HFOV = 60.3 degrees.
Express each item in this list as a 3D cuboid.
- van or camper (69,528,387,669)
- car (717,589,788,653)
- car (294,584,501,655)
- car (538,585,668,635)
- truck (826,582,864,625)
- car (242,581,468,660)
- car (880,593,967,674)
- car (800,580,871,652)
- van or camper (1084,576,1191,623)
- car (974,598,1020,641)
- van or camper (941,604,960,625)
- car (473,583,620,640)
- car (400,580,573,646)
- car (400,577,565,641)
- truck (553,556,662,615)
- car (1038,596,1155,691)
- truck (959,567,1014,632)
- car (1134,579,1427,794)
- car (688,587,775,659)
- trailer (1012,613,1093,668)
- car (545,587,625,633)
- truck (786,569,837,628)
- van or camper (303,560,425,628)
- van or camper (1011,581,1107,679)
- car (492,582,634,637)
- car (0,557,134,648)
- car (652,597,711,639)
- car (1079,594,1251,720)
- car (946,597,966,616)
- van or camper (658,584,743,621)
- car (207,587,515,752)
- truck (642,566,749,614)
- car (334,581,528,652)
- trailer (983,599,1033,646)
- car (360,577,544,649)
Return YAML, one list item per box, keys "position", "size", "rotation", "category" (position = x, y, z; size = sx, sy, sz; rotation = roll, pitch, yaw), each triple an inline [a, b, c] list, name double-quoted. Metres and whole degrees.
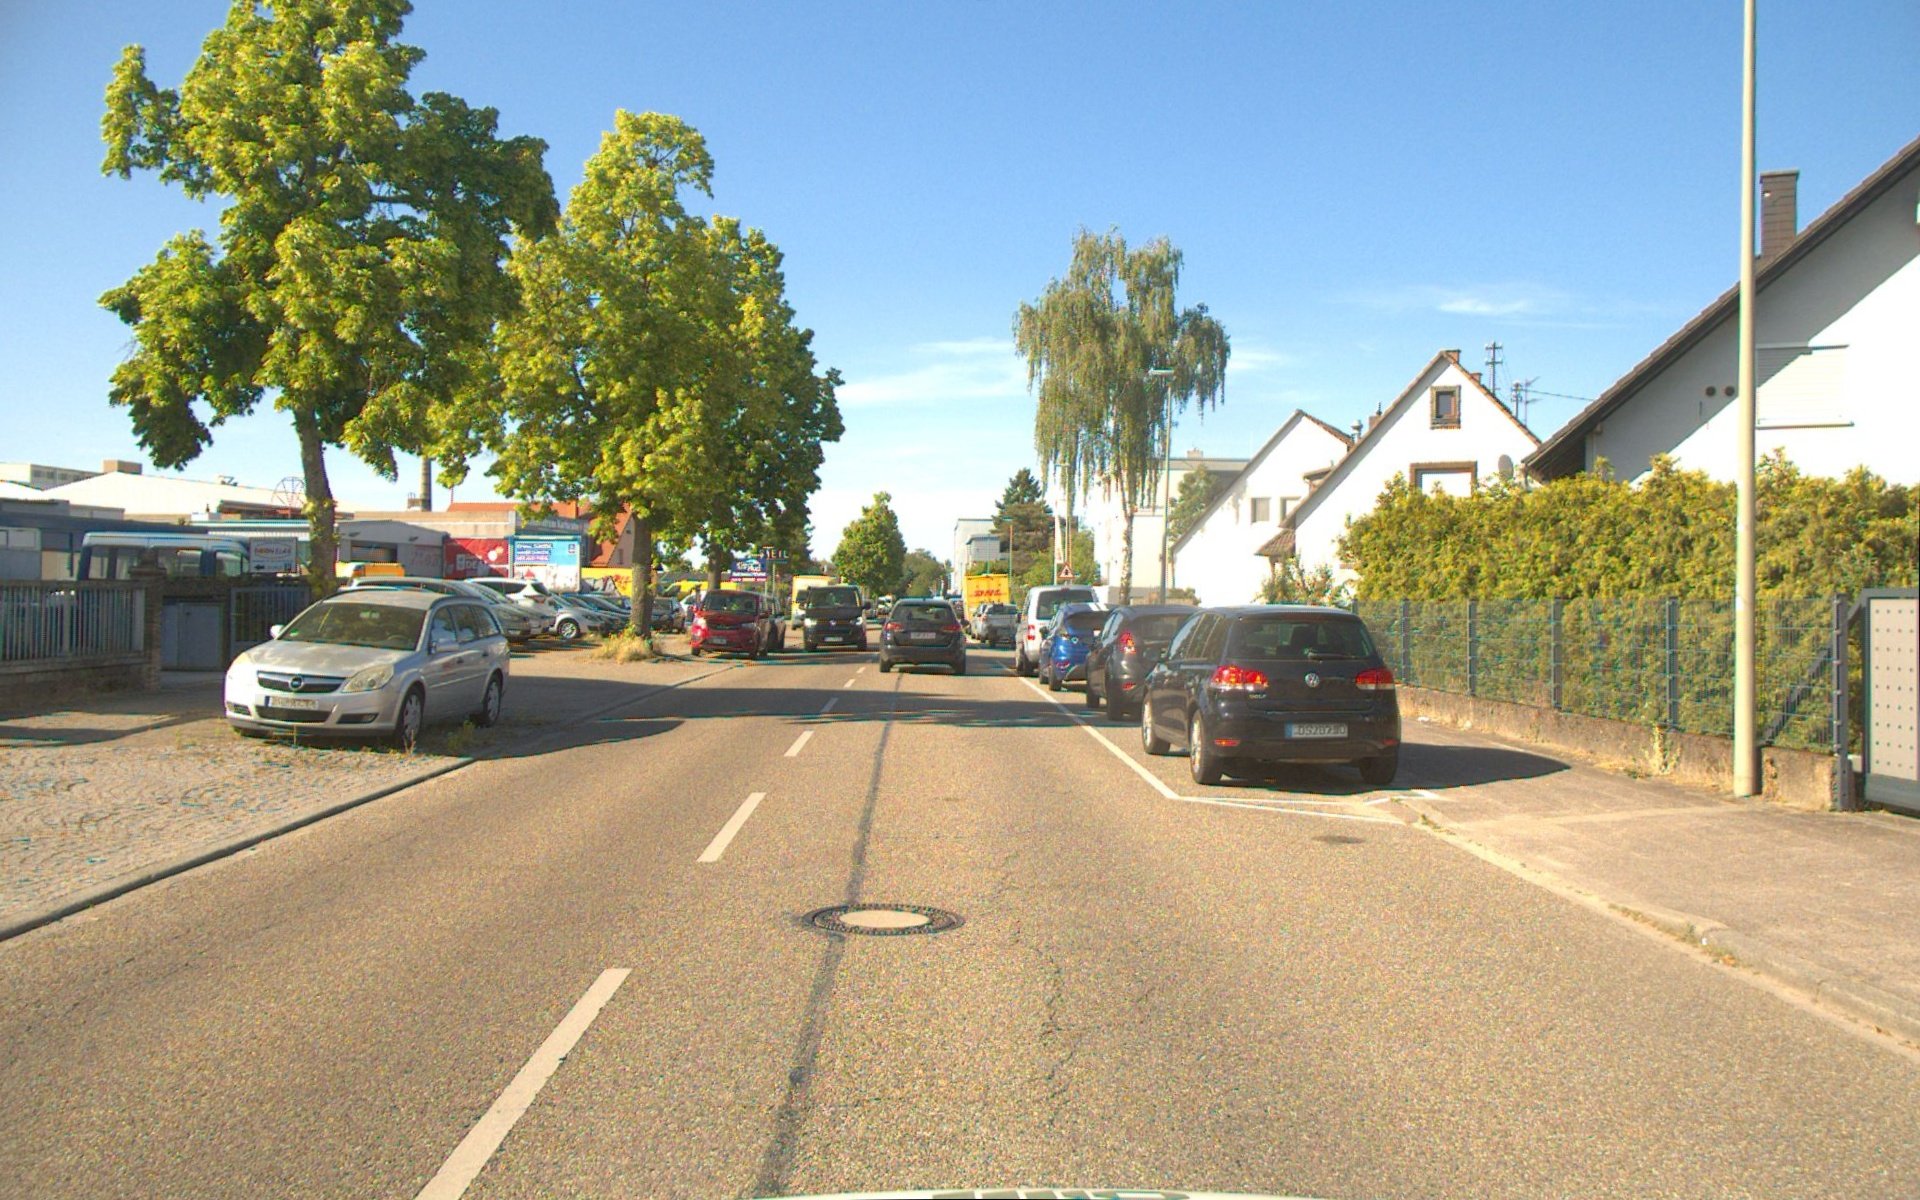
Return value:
- position: [-13.157, -0.032, 29.869]
  size: [4.788, 2.361, 2.245]
  rotation: [1, -1, 11]
  category: "van or camper"
- position: [-6.288, 0.613, 50.575]
  size: [1.640, 1.802, 4.553]
  rotation: [3, 0, -2]
  category: "car"
- position: [-12.961, 0.437, 38.266]
  size: [4.160, 1.569, 1.767]
  rotation: [0, 1, 3]
  category: "car"
- position: [-12.710, 0.351, 59.006]
  size: [4.159, 1.759, 1.767]
  rotation: [0, 0, 4]
  category: "car"
- position: [-8.601, 0.248, 124.084]
  size: [2.354, 3.035, 6.372]
  rotation: [2, 0, -1]
  category: "truck"
- position: [-12.959, 0.435, 35.546]
  size: [4.159, 1.569, 1.767]
  rotation: [1, 0, 4]
  category: "car"
- position: [-0.717, 0.648, 33.964]
  size: [1.677, 1.559, 3.687]
  rotation: [0, 0, 0]
  category: "car"
- position: [-3.773, 0.460, 50.720]
  size: [1.855, 2.067, 4.816]
  rotation: [-1, 0, -1]
  category: "car"
- position: [10.028, 0.008, 93.262]
  size: [5.744, 2.586, 2.270]
  rotation: [1, 0, -27]
  category: "van or camper"
- position: [1.442, 0.711, 63.085]
  size: [1.639, 1.569, 4.044]
  rotation: [1, 0, 2]
  category: "car"
- position: [-0.971, 1.406, 165.955]
  size: [1.880, 2.055, 4.078]
  rotation: [1, 0, -1]
  category: "van or camper"
- position: [-12.959, 0.354, 52.015]
  size: [4.161, 1.759, 1.766]
  rotation: [0, 0, 0]
  category: "car"
- position: [-12.843, 0.347, 45.013]
  size: [4.159, 1.759, 1.767]
  rotation: [0, 0, 4]
  category: "car"
- position: [-13.582, 0.256, 47.165]
  size: [4.159, 1.759, 1.767]
  rotation: [0, 0, 4]
  category: "car"
- position: [-20.576, -0.848, 96.650]
  size: [5.548, 3.174, 2.525]
  rotation: [2, 0, 10]
  category: "truck"
- position: [2.337, 0.716, 29.067]
  size: [1.684, 1.531, 3.562]
  rotation: [1, 0, -1]
  category: "car"
- position: [1.250, 0.004, 81.151]
  size: [2.354, 2.988, 7.014]
  rotation: [-2, 0, -1]
  category: "truck"
- position: [2.767, 0.684, 15.112]
  size: [1.740, 1.688, 3.814]
  rotation: [1, 0, -3]
  category: "car"
- position: [-6.159, 0.607, 44.976]
  size: [1.767, 1.783, 4.340]
  rotation: [2, 0, -1]
  category: "car"
- position: [2.214, 0.962, 40.259]
  size: [1.595, 1.238, 3.142]
  rotation: [1, 0, -4]
  category: "trailer"
- position: [-15.397, 0.392, 68.081]
  size: [1.738, 1.779, 4.168]
  rotation: [0, 1, 10]
  category: "car"
- position: [-8.108, -0.063, 90.797]
  size: [2.355, 3.035, 7.241]
  rotation: [2, 0, -2]
  category: "truck"
- position: [-25.493, -0.243, 71.054]
  size: [2.118, 2.763, 6.274]
  rotation: [1, 0, 9]
  category: "van or camper"
- position: [2.049, 0.594, 35.102]
  size: [1.684, 1.924, 4.178]
  rotation: [1, 0, -1]
  category: "van or camper"
- position: [-12.994, 0.294, 54.278]
  size: [4.159, 1.759, 1.767]
  rotation: [0, 0, 4]
  category: "car"
- position: [-17.575, 0.071, 30.577]
  size: [3.897, 1.607, 1.680]
  rotation: [0, -2, 12]
  category: "car"
- position: [-11.401, 0.779, 68.037]
  size: [1.824, 1.618, 4.274]
  rotation: [1, -2, -2]
  category: "car"
- position: [2.679, 0.705, 22.412]
  size: [1.684, 1.531, 3.905]
  rotation: [1, 0, -2]
  category: "car"
- position: [-0.420, 0.626, 161.294]
  size: [1.880, 1.857, 4.078]
  rotation: [1, 0, -1]
  category: "car"
- position: [-15.050, 0.144, 96.052]
  size: [4.447, 2.049, 2.252]
  rotation: [0, 0, 5]
  category: "van or camper"
- position: [-6.192, 0.644, 17.634]
  size: [1.652, 1.460, 4.209]
  rotation: [3, 0, 1]
  category: "car"
- position: [-15.788, -0.578, 98.823]
  size: [5.795, 2.612, 2.225]
  rotation: [2, 0, 10]
  category: "truck"
- position: [-12.860, 0.394, 40.390]
  size: [4.164, 1.613, 1.765]
  rotation: [1, 0, -3]
  category: "car"
- position: [1.644, 0.740, 56.981]
  size: [1.594, 1.565, 3.198]
  rotation: [1, 0, 0]
  category: "trailer"
- position: [-12.987, 0.326, 42.431]
  size: [4.160, 1.783, 1.766]
  rotation: [0, 0, 2]
  category: "car"
